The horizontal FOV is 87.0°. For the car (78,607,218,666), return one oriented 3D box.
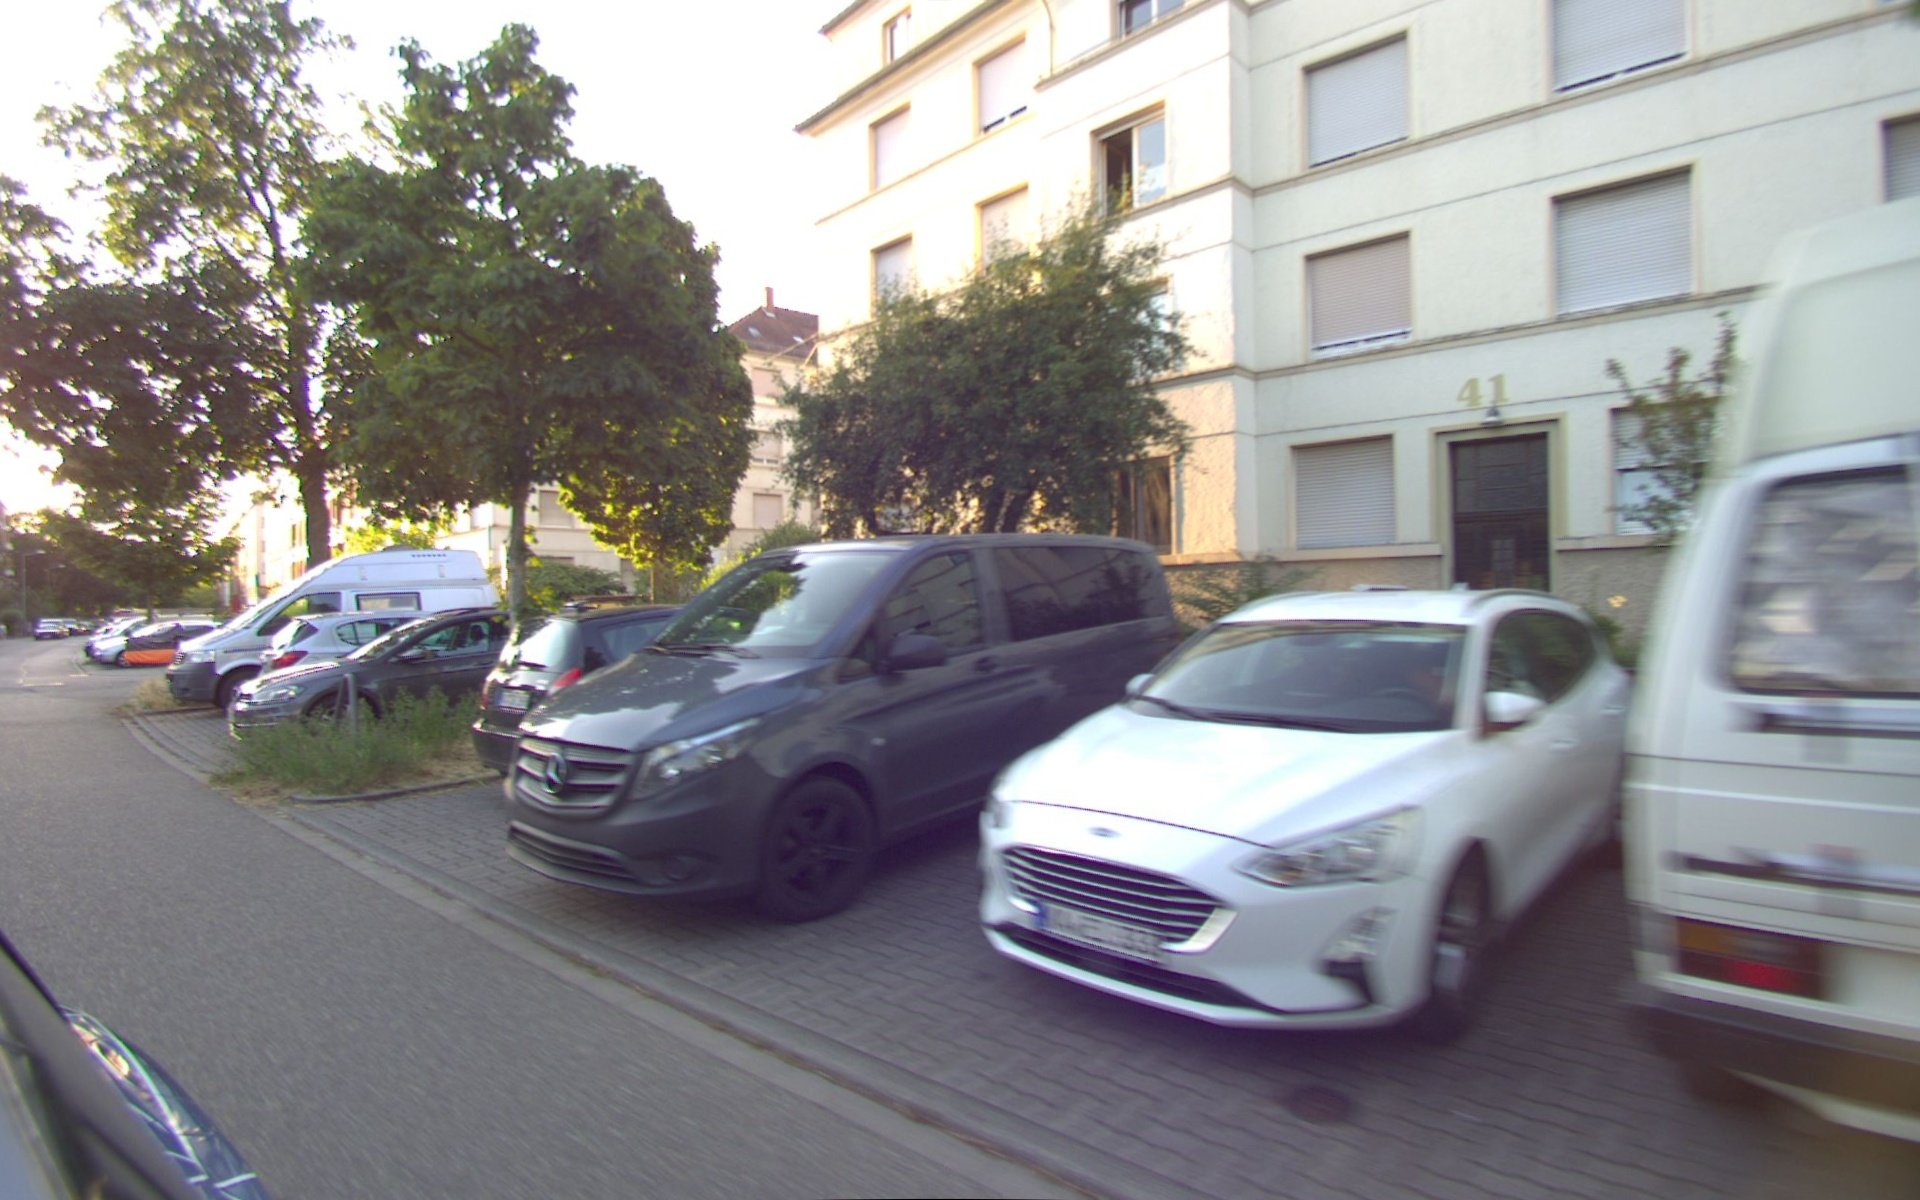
[{"bbox_3d":[-34.676,1.524,43.362,4.455,2.085,2.004,-5,1,-38],"label":"car"}]

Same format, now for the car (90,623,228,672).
[{"bbox_3d":[-29.701,1.722,37.628,3.937,1.595,1.731,-1,0,-40],"label":"car"}]

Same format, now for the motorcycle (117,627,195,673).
[{"bbox_3d":[-27.155,1.677,34.208,0.722,1.447,1.964,-2,-1,44],"label":"motorcycle"}]

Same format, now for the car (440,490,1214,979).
[{"bbox_3d":[-0.416,0.509,6.331,1.999,1.888,4.625,-2,0,41],"label":"car"}]

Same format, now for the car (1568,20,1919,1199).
[{"bbox_3d":[3.565,0.127,3.217,1.999,2.449,4.455,-2,0,41],"label":"car"}]

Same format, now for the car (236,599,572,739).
[{"bbox_3d":[-7.653,0.852,14.152,1.653,1.534,3.761,-2,1,45],"label":"car"}]

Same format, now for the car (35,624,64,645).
[{"bbox_3d":[-87.010,3.289,96.751,1.911,1.918,4.061,-1,0,-41],"label":"car"}]

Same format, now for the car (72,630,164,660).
[{"bbox_3d":[-50.432,2.653,60.654,4.091,1.426,1.740,-4,1,-44],"label":"car"}]

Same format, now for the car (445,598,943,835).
[{"bbox_3d":[-2.038,0.772,8.508,1.655,1.450,3.728,-2,0,42],"label":"car"}]

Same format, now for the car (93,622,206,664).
[{"bbox_3d":[-37.790,1.980,47.228,3.940,1.495,1.758,-6,2,-42],"label":"car"}]

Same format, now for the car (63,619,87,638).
[{"bbox_3d":[-99.188,3.199,113.412,1.969,2.029,4.006,-1,0,-41],"label":"car"}]

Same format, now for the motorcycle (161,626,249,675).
[{"bbox_3d":[-24.208,1.605,32.475,2.202,1.447,0.775,-1,0,-39],"label":"motorcycle"}]

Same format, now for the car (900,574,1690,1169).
[{"bbox_3d":[1.893,0.648,4.674,1.999,1.436,4.131,-2,0,41],"label":"car"}]

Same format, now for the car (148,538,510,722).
[{"bbox_3d":[-10.148,0.403,16.542,4.677,2.589,2.001,-1,0,-45],"label":"car"}]

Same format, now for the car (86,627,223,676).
[{"bbox_3d":[-28.230,1.766,35.513,3.667,1.517,1.692,-1,0,-41],"label":"car"}]

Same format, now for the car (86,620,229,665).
[{"bbox_3d":[-31.433,1.629,39.747,4.272,1.416,1.854,-4,1,-40],"label":"car"}]

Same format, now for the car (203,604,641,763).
[{"bbox_3d":[-6.089,0.828,11.786,4.194,1.404,1.686,-2,0,-43],"label":"car"}]

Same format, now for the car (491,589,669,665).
[{"bbox_3d":[-11.242,0.752,30.105,4.522,2.029,2.002,-1,0,-43],"label":"car"}]

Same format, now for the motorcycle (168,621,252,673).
[{"bbox_3d":[-24.844,1.545,33.556,2.202,1.594,0.775,-1,0,-39],"label":"motorcycle"}]

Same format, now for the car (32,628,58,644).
[{"bbox_3d":[-83.389,3.274,92.256,1.707,1.386,3.768,-1,0,-41],"label":"car"}]

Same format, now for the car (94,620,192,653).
[{"bbox_3d":[-52.658,2.337,65.364,4.791,2.070,2.004,1,-2,-37],"label":"car"}]

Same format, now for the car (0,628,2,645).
[{"bbox_3d":[-86.576,3.295,90.068,1.773,1.535,4.006,-1,0,-41],"label":"car"}]

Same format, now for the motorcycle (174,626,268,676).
[{"bbox_3d":[-23.300,1.577,31.936,2.352,1.447,0.883,-1,0,-39],"label":"motorcycle"}]

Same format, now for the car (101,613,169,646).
[{"bbox_3d":[-69.049,2.485,84.746,4.345,2.576,1.935,-1,0,-39],"label":"car"}]

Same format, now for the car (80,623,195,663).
[{"bbox_3d":[-39.676,2.060,48.889,4.191,1.633,1.816,-3,0,-41],"label":"car"}]
